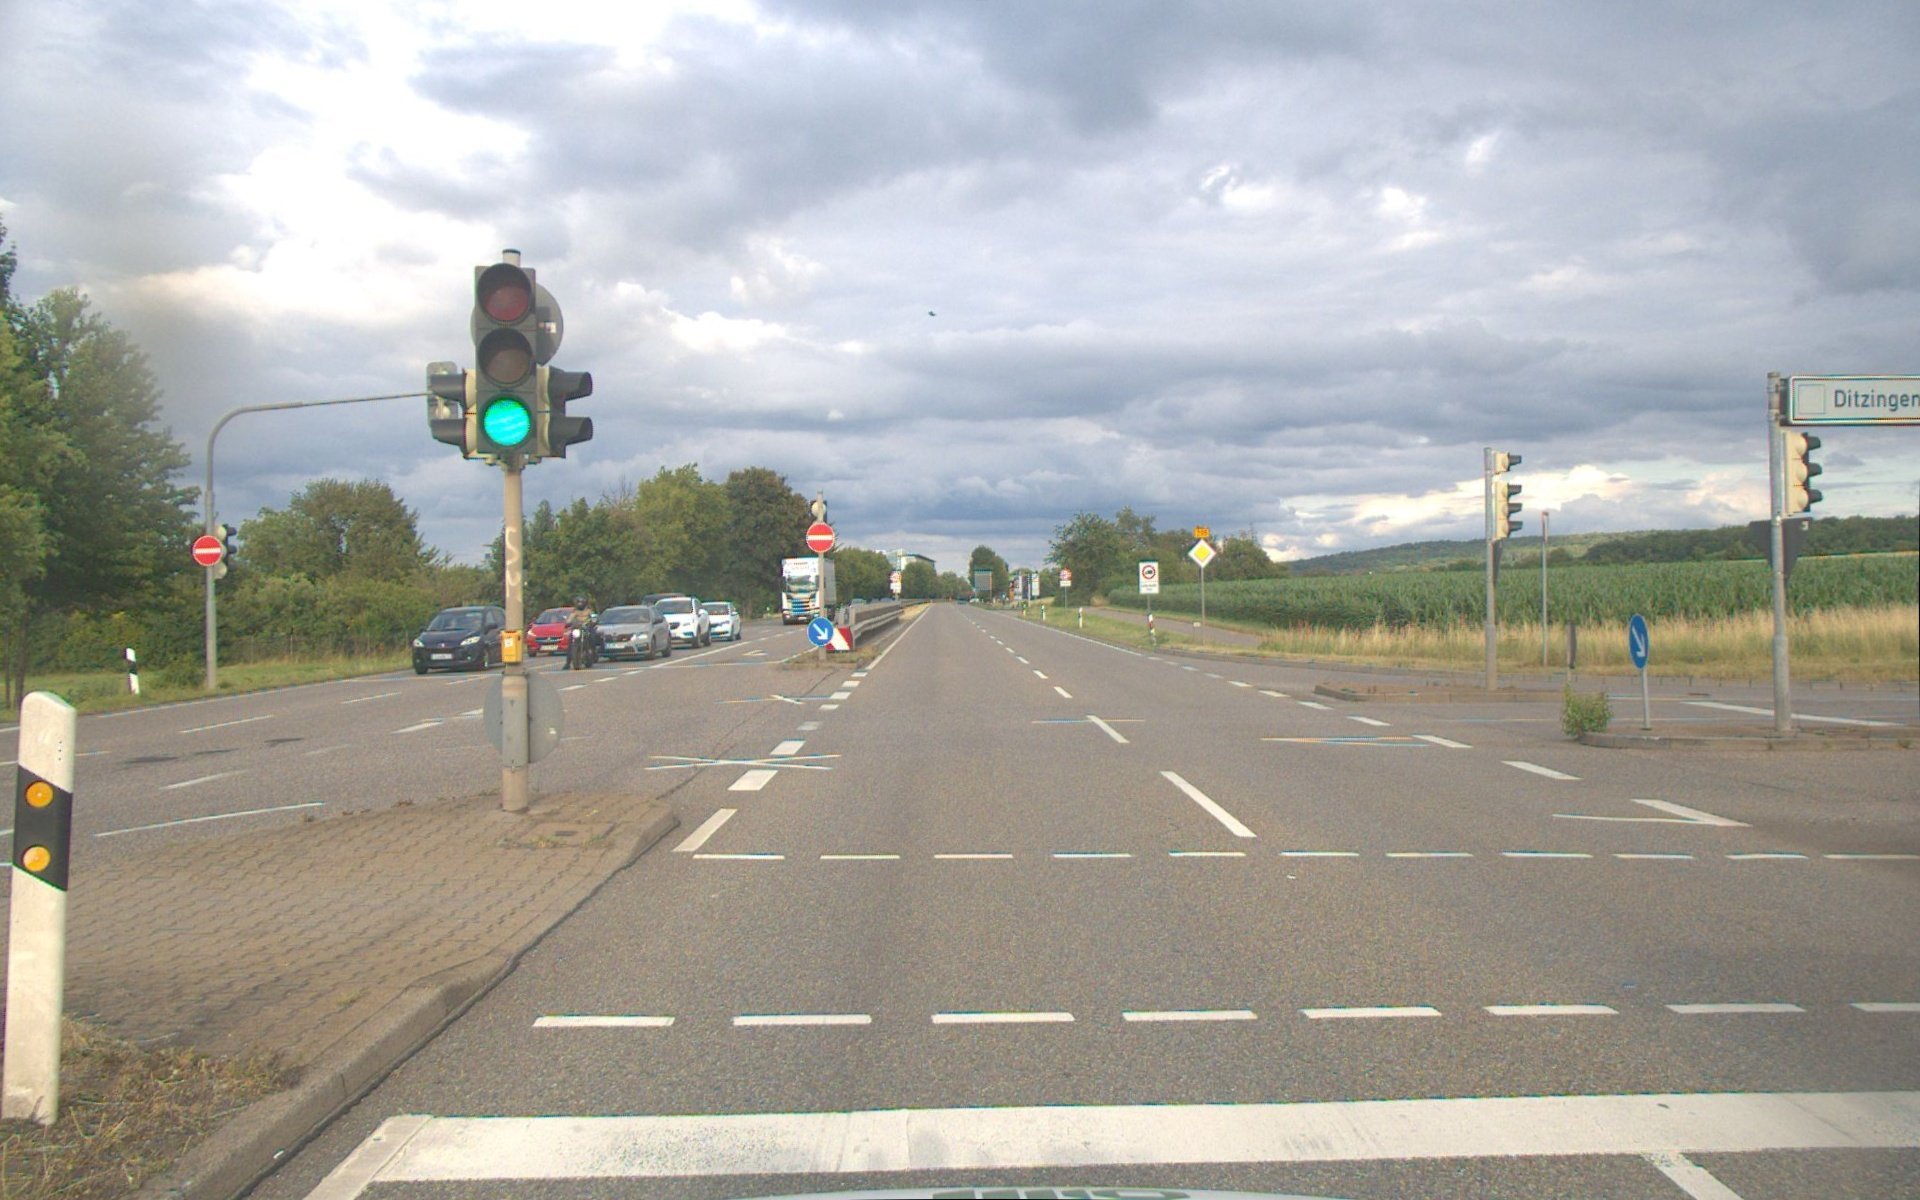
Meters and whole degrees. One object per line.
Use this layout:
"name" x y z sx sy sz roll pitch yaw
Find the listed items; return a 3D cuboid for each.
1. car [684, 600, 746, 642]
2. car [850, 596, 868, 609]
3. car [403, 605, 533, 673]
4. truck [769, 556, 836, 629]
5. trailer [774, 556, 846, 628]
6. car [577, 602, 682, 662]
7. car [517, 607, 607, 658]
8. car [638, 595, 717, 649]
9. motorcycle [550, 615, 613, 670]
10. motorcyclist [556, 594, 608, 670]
"car" -9.242 0.779 62.623 1.752 1.469 4.159 -2 0 -1
"car" -11.134 0.271 182.213 1.752 1.410 4.159 -2 0 -1
"car" -12.517 0.949 42.401 1.869 1.562 4.937 -2 0 -1
"truck" -9.595 -0.451 101.548 3.404 4.223 6.048 -3 0 -1
"trailer" -9.669 -0.473 108.090 3.395 4.223 13.914 -3 0 -1
"car" -8.916 0.824 45.035 1.869 1.453 5.151 -2 0 -1
"car" -12.623 1.009 52.693 1.869 1.490 4.183 -2 0 -1
"car" -9.226 0.686 54.387 1.869 1.638 4.404 -2 0 -1
"motorcycle" -9.009 0.994 39.480 0.897 1.224 2.478 -2 0 0
"motorcyclist" -9.007 0.753 39.480 0.897 1.738 1.276 -2 0 -1
